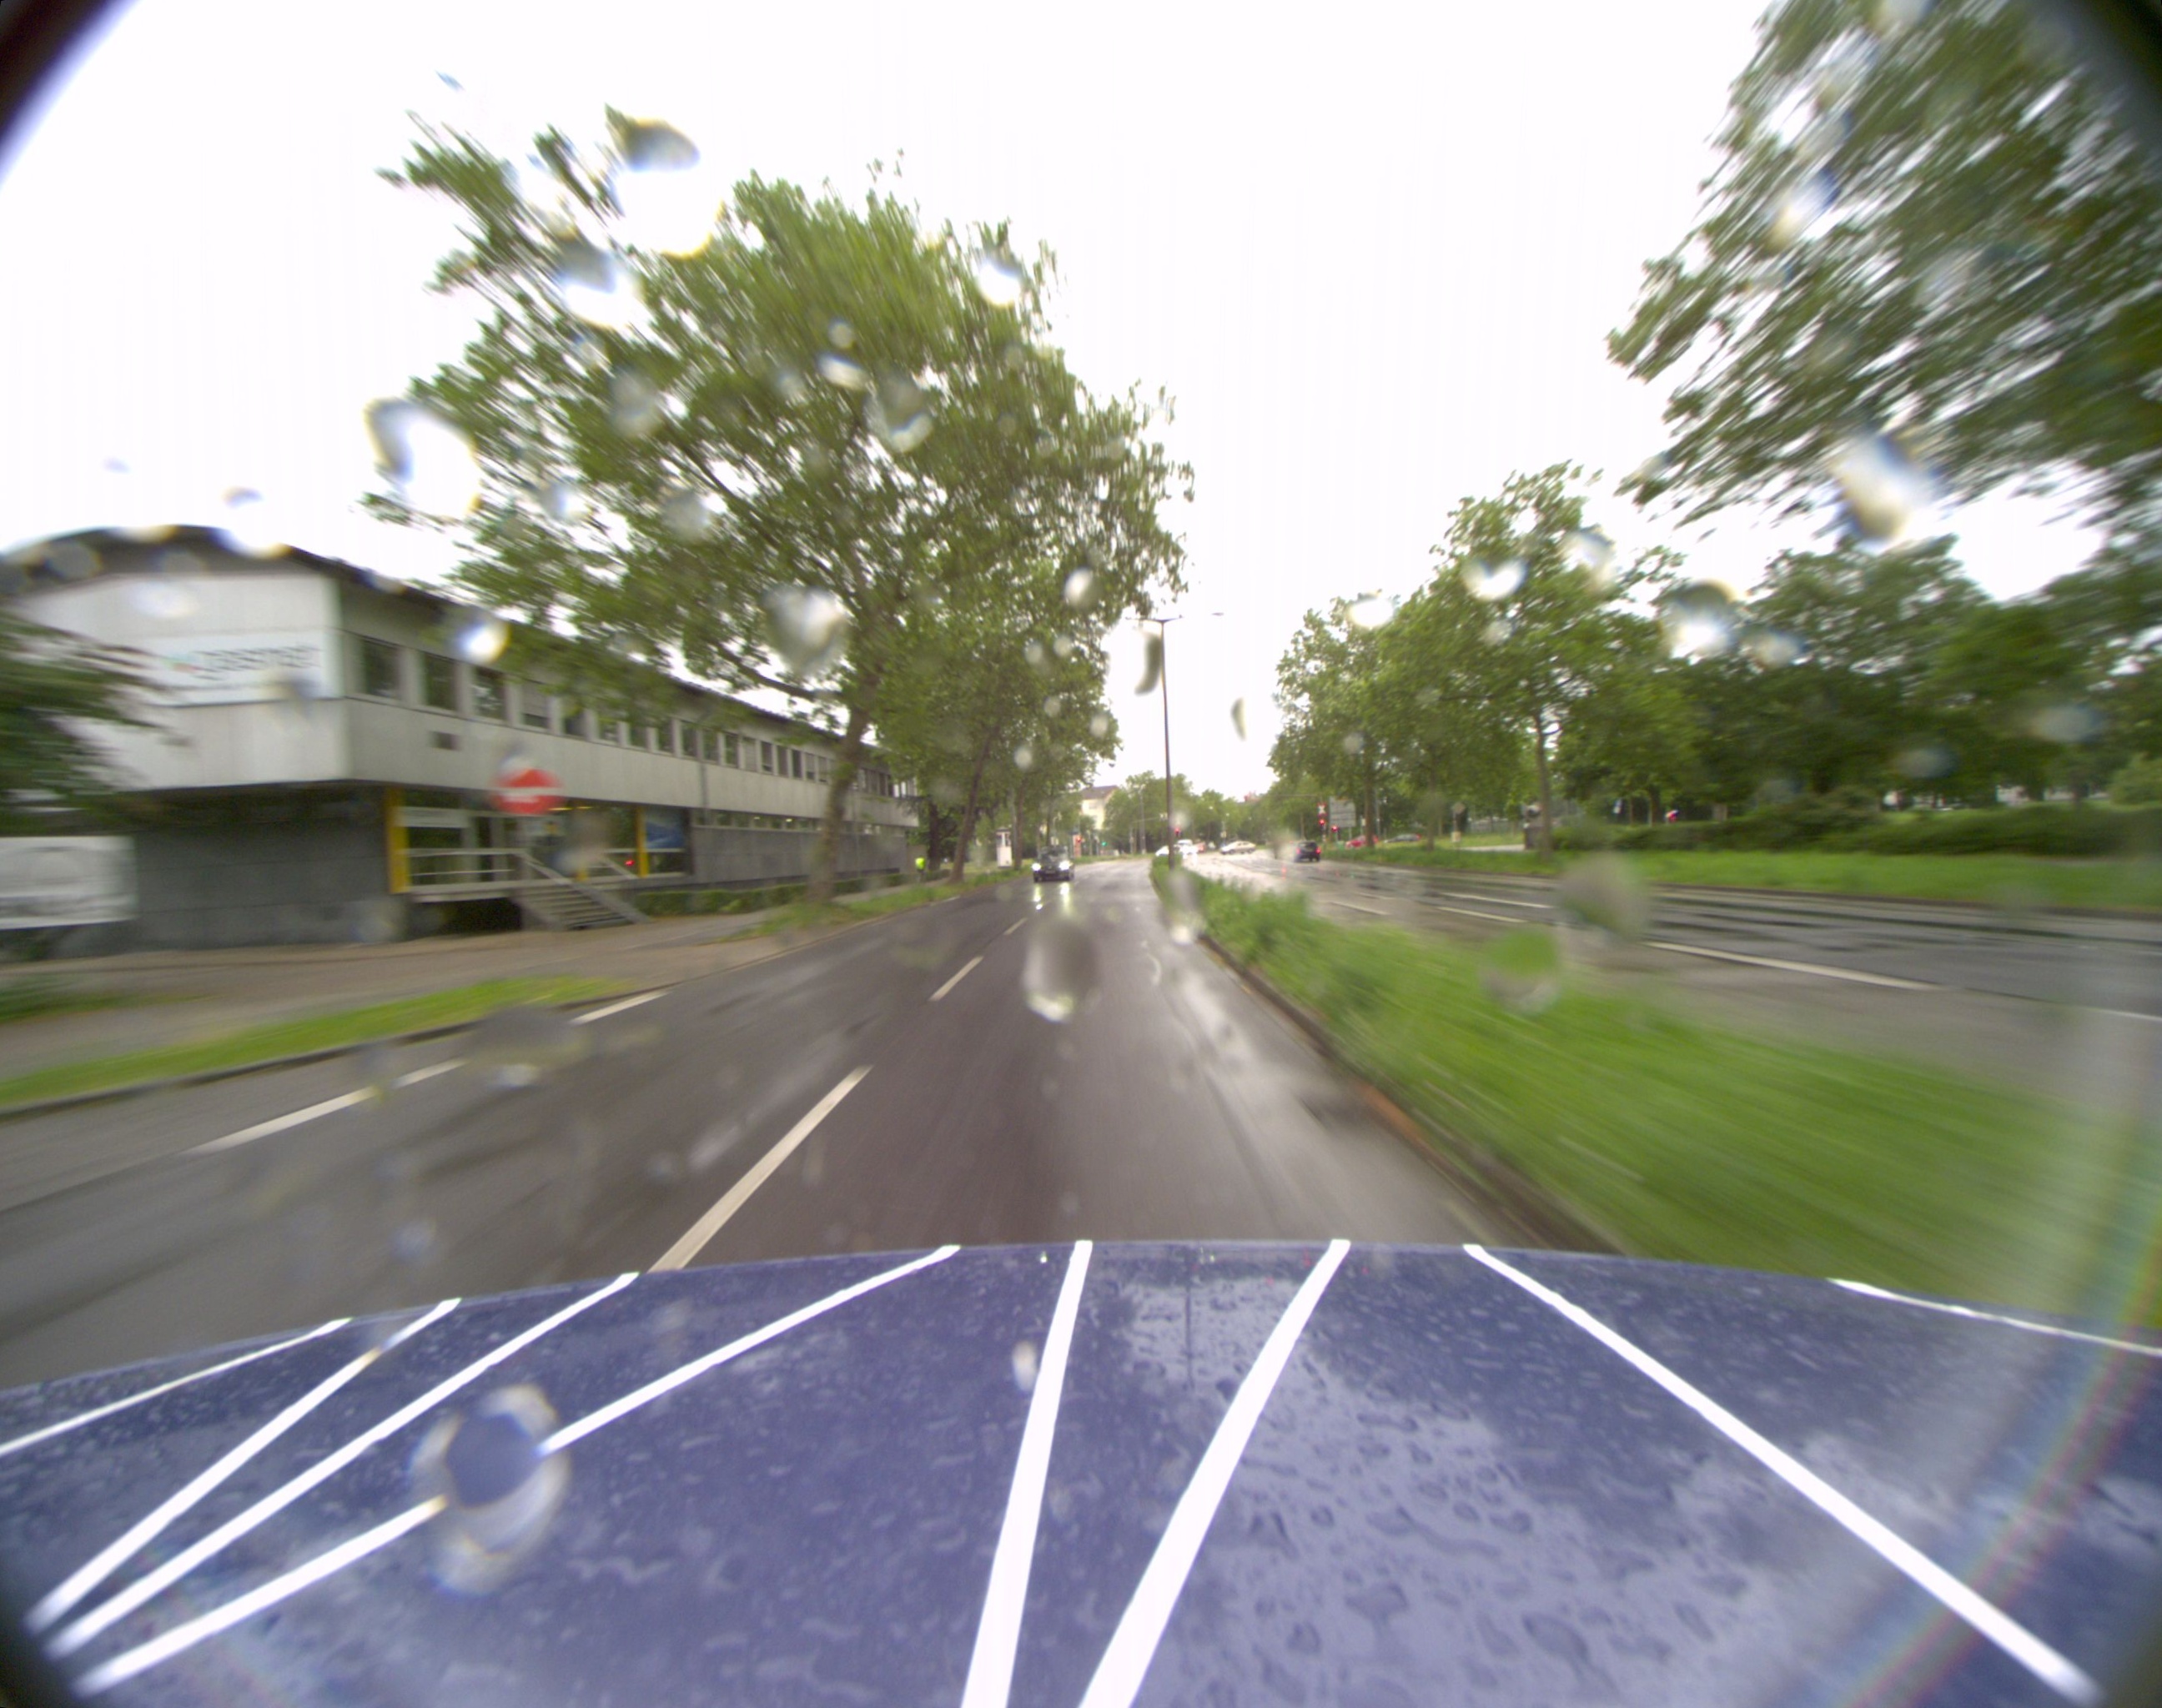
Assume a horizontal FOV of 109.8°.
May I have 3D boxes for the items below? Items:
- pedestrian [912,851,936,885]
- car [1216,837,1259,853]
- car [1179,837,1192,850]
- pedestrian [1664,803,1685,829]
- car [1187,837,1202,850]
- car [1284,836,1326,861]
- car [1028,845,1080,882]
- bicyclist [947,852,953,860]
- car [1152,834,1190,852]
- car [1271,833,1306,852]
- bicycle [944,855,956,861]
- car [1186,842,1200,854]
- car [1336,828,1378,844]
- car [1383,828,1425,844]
[{"bbox_3d":[-8.083,0.722,39.085,0.832,1.685,0.900,-3,1,9],"label":"pedestrian"},{"bbox_3d":[18.422,-1.046,89.468,4.507,1.620,1.996,-4,1,-21],"label":"car"},{"bbox_3d":[18.130,-1.881,131.529,1.997,2.096,5.146,-3,1,9],"label":"car"},{"bbox_3d":[47.368,-3.034,60.613,0.898,2.002,1.020,-3,2,11],"label":"pedestrian"},{"bbox_3d":[18.268,-1.708,122.802,1.998,1.876,4.522,-3,1,4],"label":"car"},{"bbox_3d":[15.642,-0.422,53.327,1.998,1.622,4.332,-3,1,6],"label":"car"},{"bbox_3d":[-1.303,0.422,39.217,1.998,1.585,5.590,-3,1,4],"label":"car"},{"bbox_3d":[-21.246,0.299,123.204,0.742,1.138,0.684,-2,2,33],"label":"bicyclist"},{"bbox_3d":[9.638,-1.213,80.818,1.995,1.620,4.530,-2,1,36],"label":"car"},{"bbox_3d":[16.636,-0.934,61.046,1.998,1.366,4.332,-3,1,6],"label":"car"},{"bbox_3d":[-21.256,0.608,123.242,1.860,0.880,0.684,-3,2,33],"label":"bicycle"},{"bbox_3d":[17.263,-0.897,116.678,1.997,1.620,4.524,-3,1,9],"label":"car"},{"bbox_3d":[32.785,-2.144,90.121,4.511,1.620,2.003,-3,1,24],"label":"car"},{"bbox_3d":[38.598,-2.183,90.809,4.511,1.620,2.003,-3,1,24],"label":"car"}]
